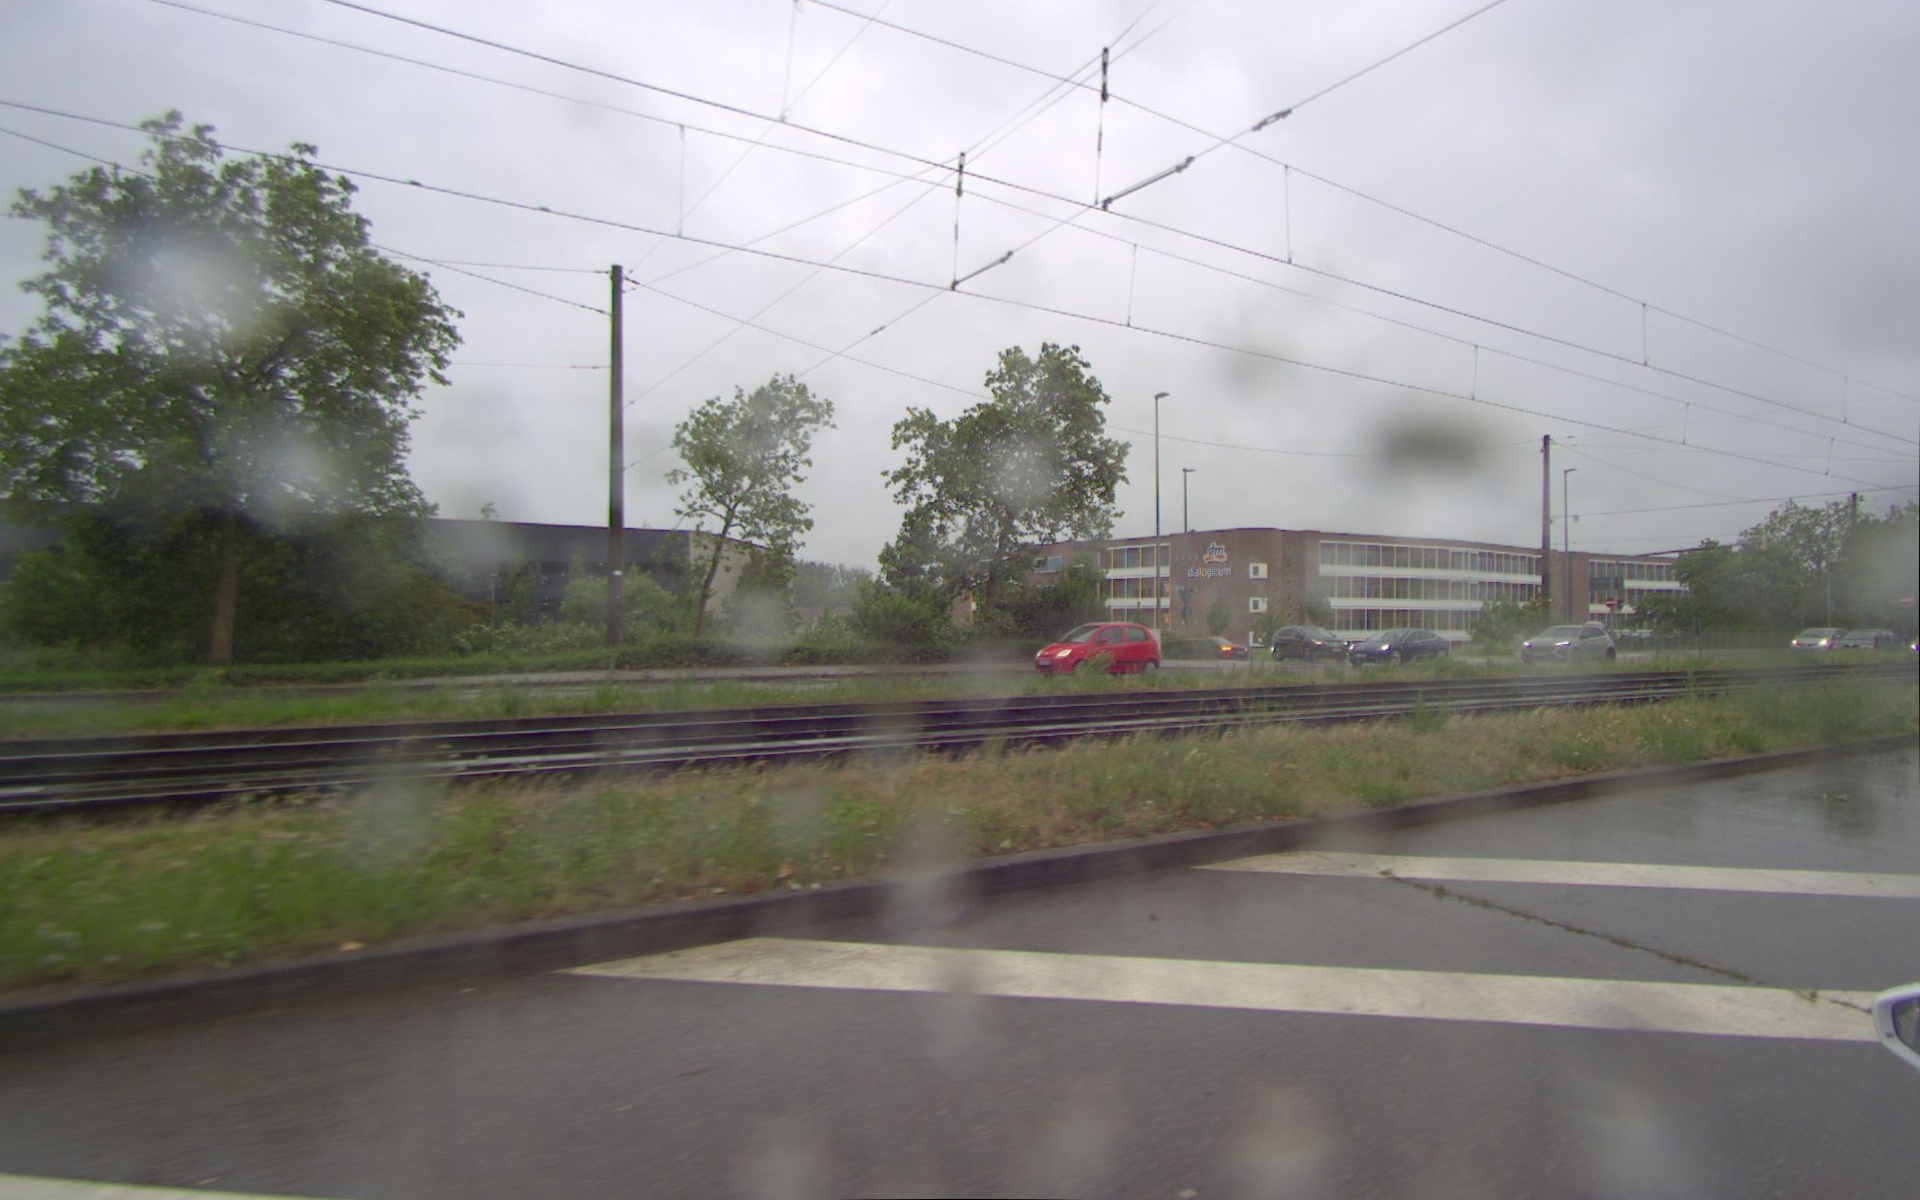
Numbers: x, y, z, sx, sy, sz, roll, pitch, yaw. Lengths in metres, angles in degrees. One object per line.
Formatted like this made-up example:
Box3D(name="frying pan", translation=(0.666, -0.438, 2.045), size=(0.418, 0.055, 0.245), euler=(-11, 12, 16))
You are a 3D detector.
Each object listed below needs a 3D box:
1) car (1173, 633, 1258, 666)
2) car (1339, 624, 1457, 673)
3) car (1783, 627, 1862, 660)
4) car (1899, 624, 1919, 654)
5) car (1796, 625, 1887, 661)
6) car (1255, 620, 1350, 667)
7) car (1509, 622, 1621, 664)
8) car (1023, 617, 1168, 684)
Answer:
Box3D(name="car", translation=(13.326, 2.548, 52.658), size=(1.975, 1.461, 4.343), euler=(1, 0, -27))
Box3D(name="car", translation=(16.816, 1.834, 38.508), size=(4.489, 1.704, 1.982), euler=(1, 0, -32))
Box3D(name="car", translation=(45.048, 2.242, 52.454), size=(4.047, 1.617, 1.984), euler=(1, -1, -31))
Box3D(name="car", translation=(59.151, 2.395, 60.937), size=(4.572, 1.729, 1.983), euler=(1, 0, -31))
Box3D(name="car", translation=(41.804, 2.019, 47.633), size=(4.330, 1.616, 1.984), euler=(1, -4, -31))
Box3D(name="car", translation=(15.353, 1.922, 45.144), size=(3.920, 1.884, 2.000), euler=(1, 0, 18))
Box3D(name="car", translation=(23.272, 1.628, 38.604), size=(4.251, 1.506, 1.983), euler=(1, 0, -32))
Box3D(name="car", translation=(3.587, 1.307, 26.445), size=(3.577, 1.611, 1.594), euler=(2, 0, -31))
